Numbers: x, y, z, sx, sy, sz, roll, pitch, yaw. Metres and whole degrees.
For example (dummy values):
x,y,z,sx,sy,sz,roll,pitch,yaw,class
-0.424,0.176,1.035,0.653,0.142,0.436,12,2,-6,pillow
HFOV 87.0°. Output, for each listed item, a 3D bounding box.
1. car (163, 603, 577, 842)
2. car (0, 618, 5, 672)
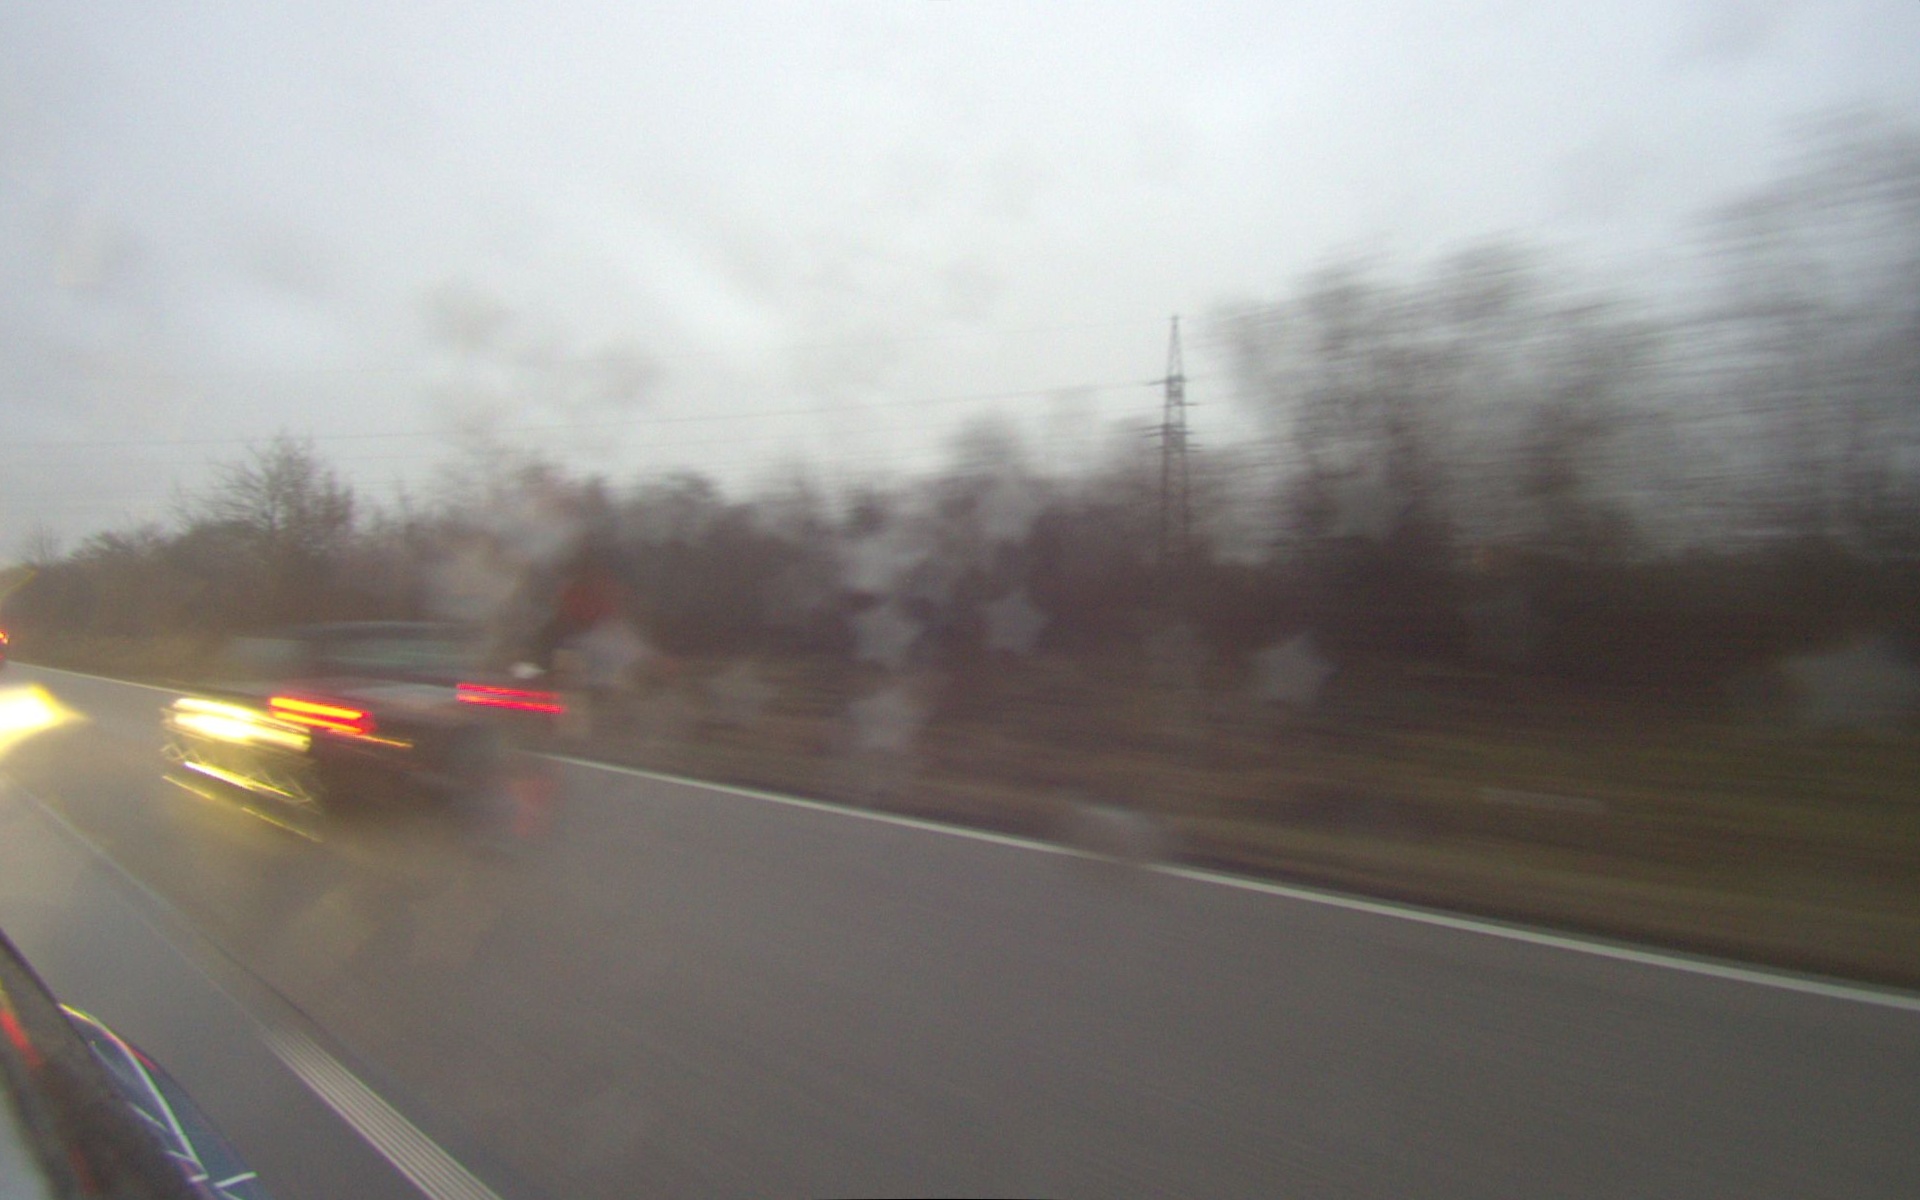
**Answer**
x,y,z,sx,sy,sz,roll,pitch,yaw,class
-4.806,0.793,8.092,3.453,1.452,1.799,-1,0,40,car
-31.888,1.433,32.101,4.101,1.667,1.903,-1,-1,40,car
